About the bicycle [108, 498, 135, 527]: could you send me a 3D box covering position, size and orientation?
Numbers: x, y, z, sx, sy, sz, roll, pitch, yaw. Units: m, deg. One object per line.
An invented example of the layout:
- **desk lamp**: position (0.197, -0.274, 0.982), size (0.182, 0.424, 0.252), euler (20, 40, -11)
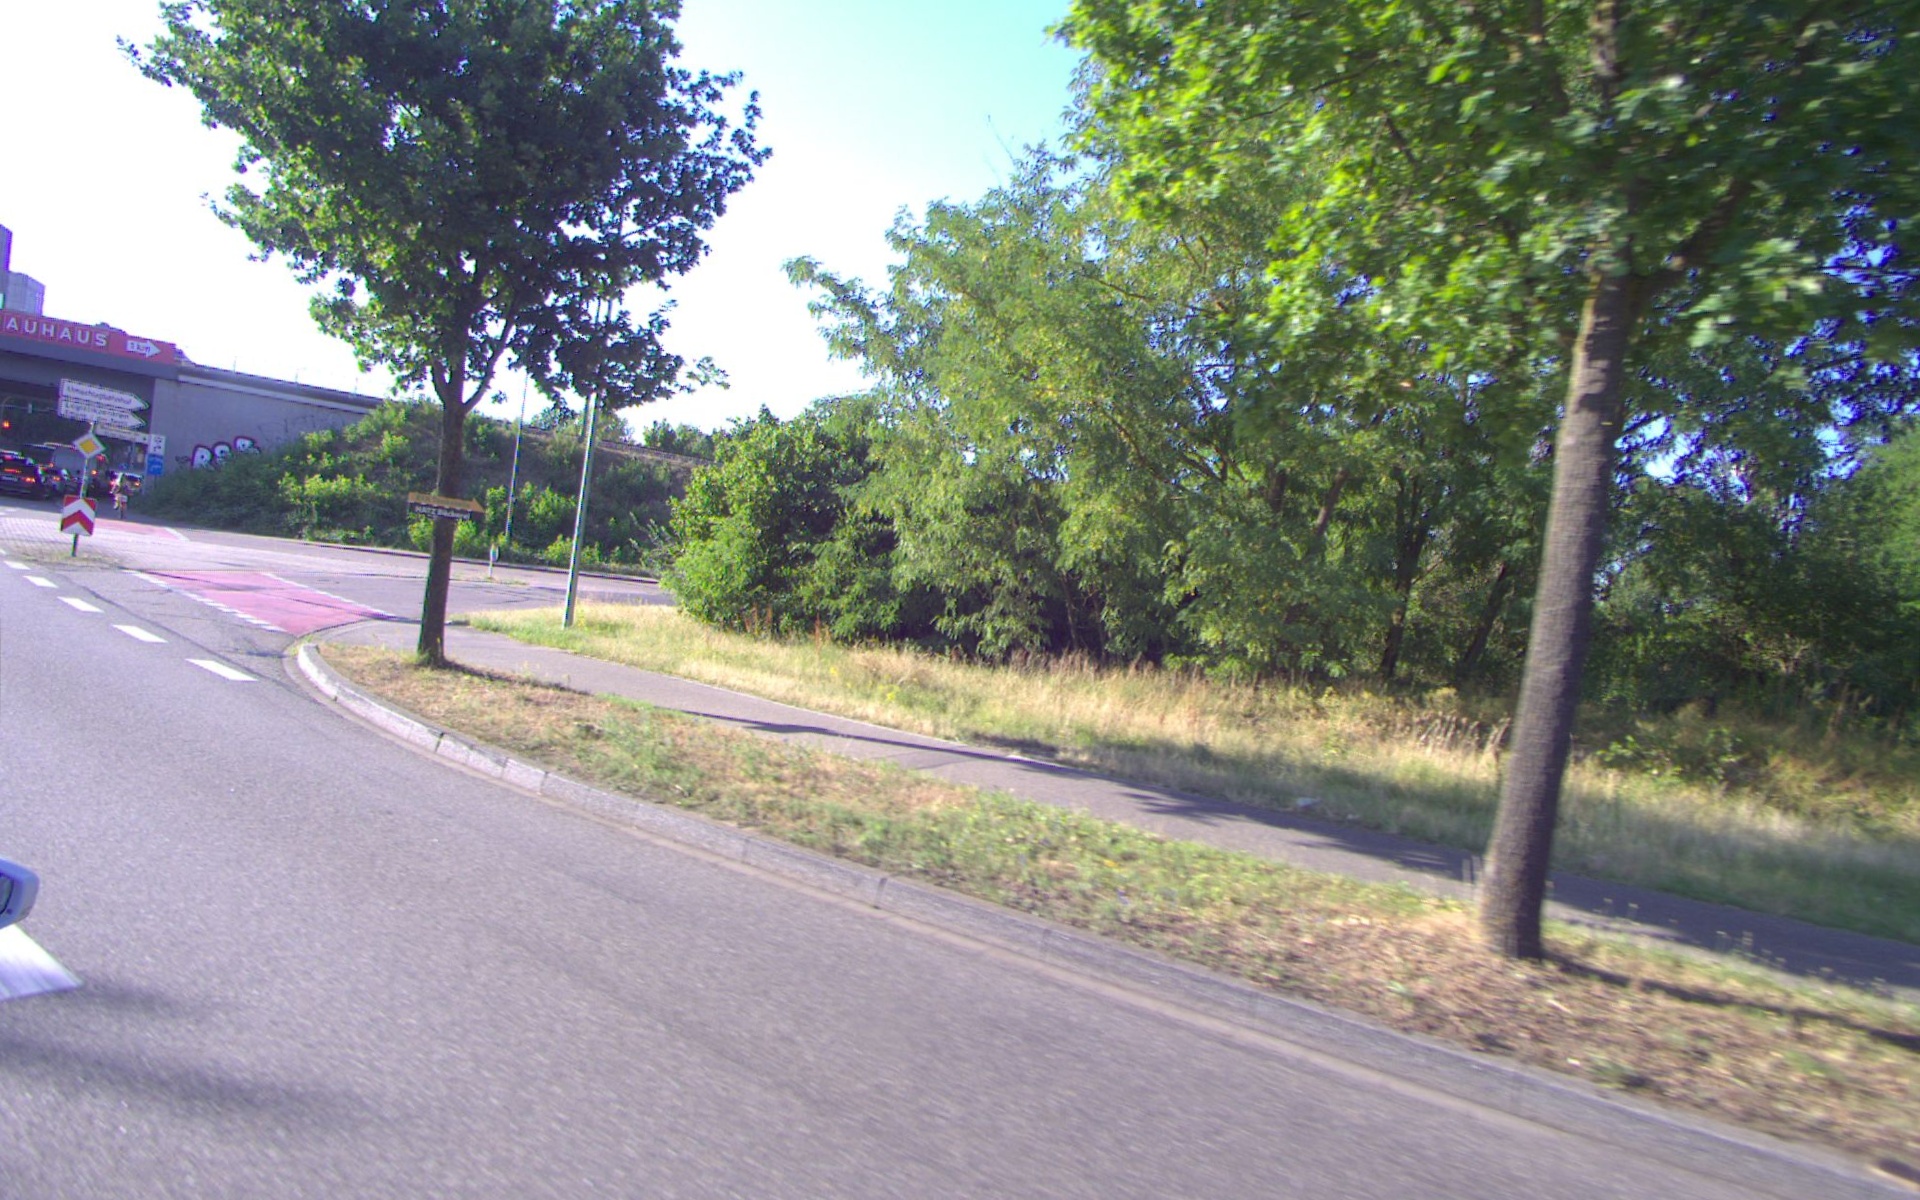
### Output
- **bicycle**: position (-31.576, -3.308, 37.896), size (0.576, 0.975, 2.856), euler (7, 0, -37)

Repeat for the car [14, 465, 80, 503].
- **car**: position (-46.095, -5.814, 50.868), size (1.760, 1.514, 3.797), euler (6, 1, -33)

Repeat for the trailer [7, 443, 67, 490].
- **trailer**: position (-57.591, -8.293, 62.835), size (1.850, 2.496, 3.800), euler (6, 1, -31)

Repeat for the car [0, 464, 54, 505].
- **car**: position (-41.761, -5.132, 44.531), size (1.731, 1.472, 4.559), euler (8, 1, -35)

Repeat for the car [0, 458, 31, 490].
- **car**: position (-54.459, -7.241, 57.233), size (1.571, 1.550, 3.798), euler (8, 0, -32)

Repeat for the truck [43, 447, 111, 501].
- **truck**: position (-50.192, -7.125, 57.288), size (2.099, 2.550, 4.360), euler (8, 0, -34)

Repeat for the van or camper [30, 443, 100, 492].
- **van or camper**: position (-60.083, -8.822, 67.673), size (1.978, 2.602, 5.874), euler (7, 0, -28)

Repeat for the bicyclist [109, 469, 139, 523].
- **bicyclist**: position (-31.571, -3.929, 37.995), size (0.678, 1.930, 0.824), euler (7, 1, -38)
